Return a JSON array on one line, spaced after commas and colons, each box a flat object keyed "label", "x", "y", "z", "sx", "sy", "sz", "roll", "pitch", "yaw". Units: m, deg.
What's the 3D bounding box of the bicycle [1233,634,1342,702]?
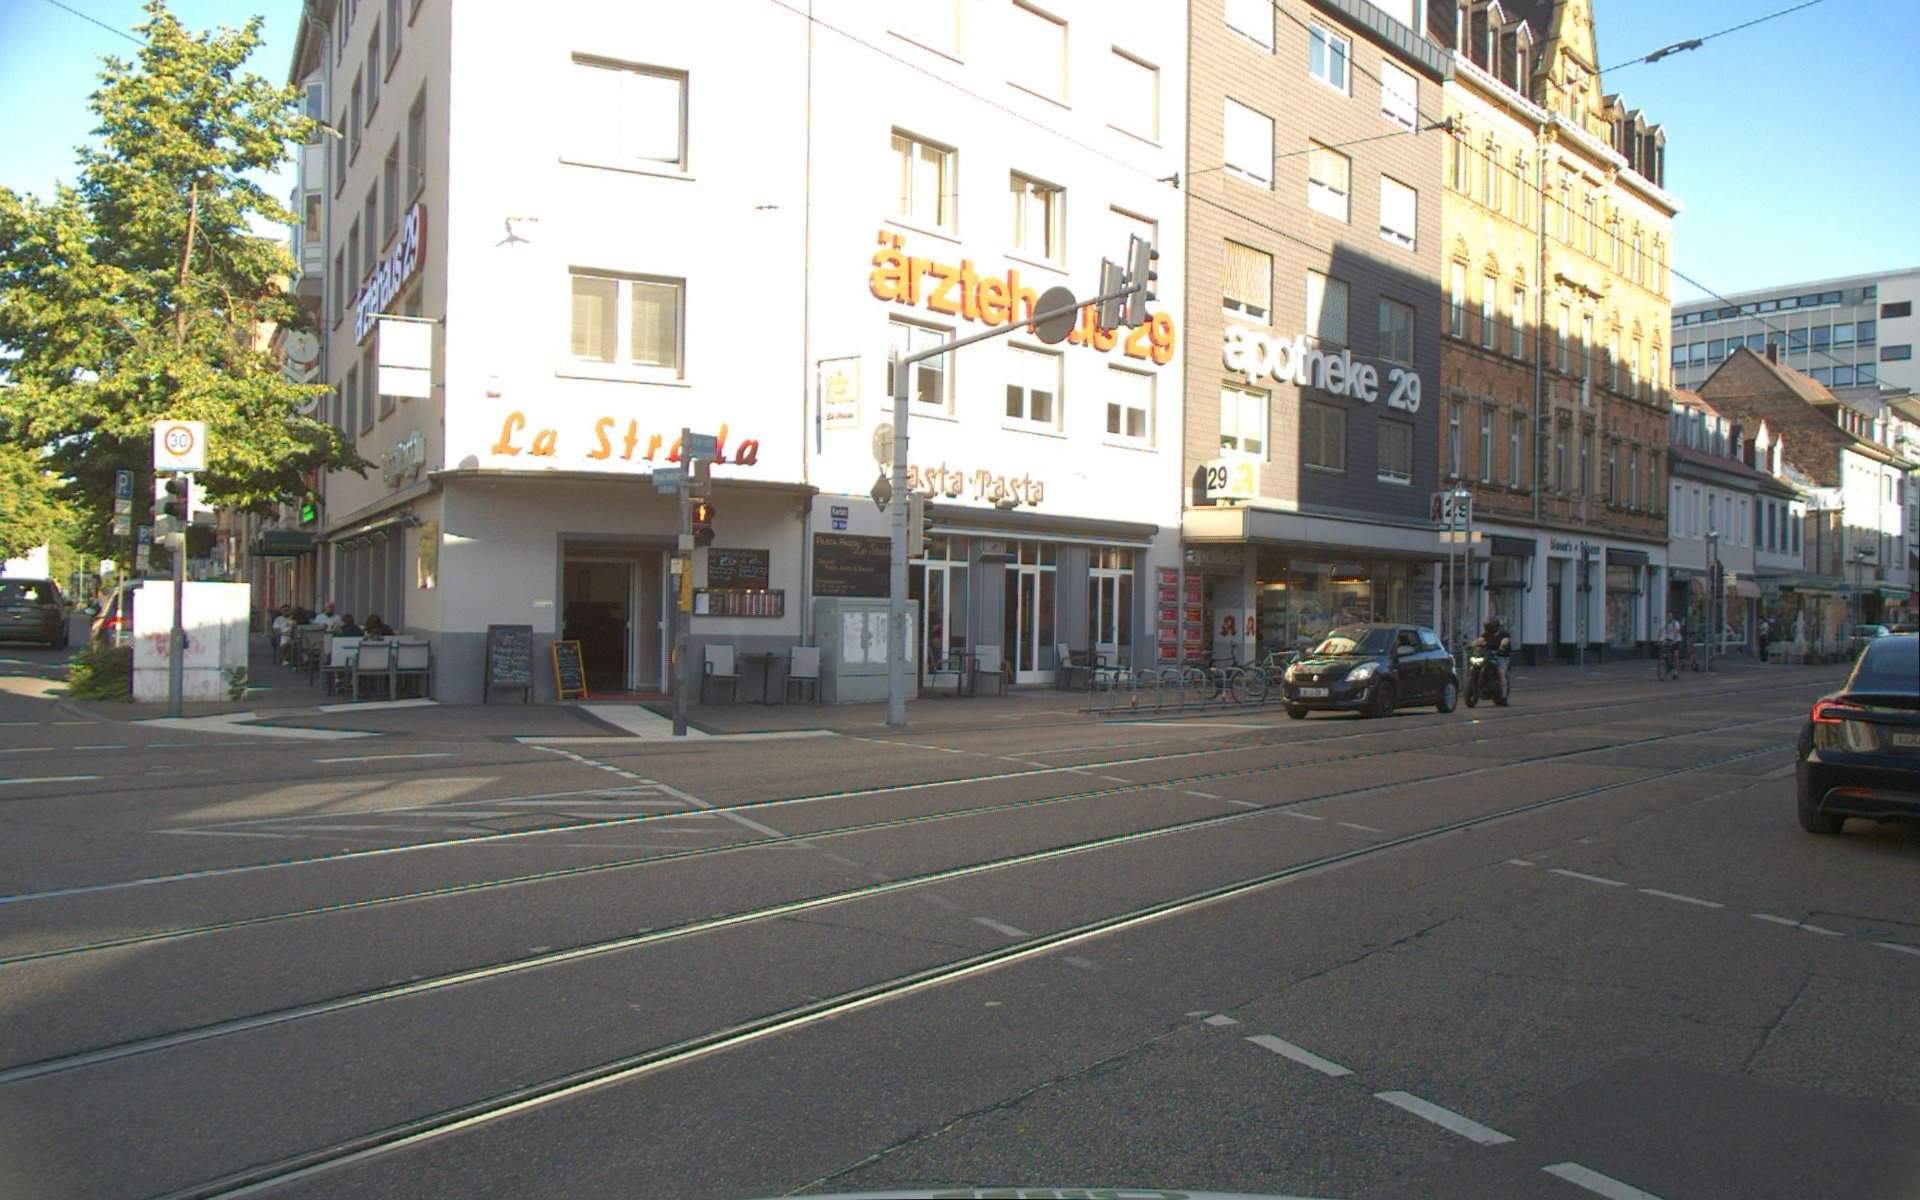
[{"label": "bicycle", "x": 6.354, "y": 1.309, "z": 32.155, "sx": 1.902, "sy": 1.193, "sz": 0.771, "roll": 3, "pitch": 0, "yaw": 35}]

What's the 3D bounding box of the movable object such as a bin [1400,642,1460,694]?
[{"label": "movable object such as a bin", "x": 10.504, "y": 1.504, "z": 37.006, "sx": 1.083, "sy": 1.082, "sz": 0.695, "roll": 2, "pitch": 1, "yaw": 40}]

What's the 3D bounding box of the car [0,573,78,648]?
[{"label": "car", "x": -23.214, "y": 0.242, "z": 41.284, "sx": 1.880, "sy": 1.763, "sz": 4.253, "roll": 1, "pitch": 0, "yaw": -26}]

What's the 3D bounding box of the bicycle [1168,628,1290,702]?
[{"label": "bicycle", "x": 4.969, "y": 1.177, "z": 30.608, "sx": 2.067, "sy": 1.245, "sz": 0.771, "roll": 2, "pitch": 0, "yaw": 35}]

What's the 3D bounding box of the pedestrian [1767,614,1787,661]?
[{"label": "pedestrian", "x": 32.763, "y": 1.511, "z": 66.324, "sx": 0.645, "sy": 1.855, "sz": 0.640, "roll": 1, "pitch": -1, "yaw": 34}]

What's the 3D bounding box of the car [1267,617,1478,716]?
[{"label": "car", "x": 6.745, "y": 1.036, "z": 26.790, "sx": 1.687, "sy": 1.471, "sz": 4.117, "roll": -2, "pitch": -2, "yaw": 40}]

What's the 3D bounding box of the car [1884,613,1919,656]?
[{"label": "car", "x": 37.143, "y": 1.337, "z": 64.293, "sx": 1.623, "sy": 1.593, "sz": 2.814, "roll": 1, "pitch": 0, "yaw": 40}]

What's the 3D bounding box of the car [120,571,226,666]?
[{"label": "car", "x": -16.810, "y": 0.382, "z": 35.348, "sx": 1.880, "sy": 1.884, "sz": 4.253, "roll": 1, "pitch": 0, "yaw": -26}]

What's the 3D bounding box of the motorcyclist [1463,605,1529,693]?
[{"label": "motorcyclist", "x": 9.850, "y": 0.891, "z": 30.395, "sx": 0.791, "sy": 1.585, "sz": 1.139, "roll": -1, "pitch": -2, "yaw": 40}]

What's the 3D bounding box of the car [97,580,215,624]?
[{"label": "car", "x": -41.055, "y": 0.105, "z": 84.532, "sx": 5.328, "sy": 2.183, "sz": 1.982, "roll": 1, "pitch": 0, "yaw": -28}]

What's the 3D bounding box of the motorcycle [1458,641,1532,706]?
[{"label": "motorcycle", "x": 9.850, "y": 1.335, "z": 30.423, "sx": 0.561, "sy": 1.139, "sz": 2.106, "roll": -1, "pitch": -1, "yaw": 40}]

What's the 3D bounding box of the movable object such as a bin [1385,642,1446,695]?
[{"label": "movable object such as a bin", "x": 10.039, "y": 1.491, "z": 36.454, "sx": 1.083, "sy": 1.090, "sz": 0.731, "roll": 2, "pitch": 1, "yaw": 40}]

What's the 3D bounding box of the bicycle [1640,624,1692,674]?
[{"label": "bicycle", "x": 19.253, "y": 1.326, "z": 45.107, "sx": 0.739, "sy": 1.316, "sz": 2.014, "roll": 0, "pitch": -1, "yaw": 40}]

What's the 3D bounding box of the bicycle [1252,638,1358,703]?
[{"label": "bicycle", "x": 6.828, "y": 1.382, "z": 32.787, "sx": 1.901, "sy": 1.213, "sz": 0.771, "roll": 1, "pitch": -1, "yaw": 35}]

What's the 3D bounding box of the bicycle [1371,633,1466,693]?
[{"label": "bicycle", "x": 9.920, "y": 1.350, "z": 35.795, "sx": 1.902, "sy": 1.211, "sz": 0.549, "roll": 1, "pitch": -1, "yaw": 36}]

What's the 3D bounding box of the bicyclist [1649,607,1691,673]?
[{"label": "bicyclist", "x": 19.323, "y": 1.094, "z": 45.018, "sx": 0.739, "sy": 1.759, "sz": 1.139, "roll": 1, "pitch": -1, "yaw": 40}]

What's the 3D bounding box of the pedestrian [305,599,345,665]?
[{"label": "pedestrian", "x": -13.616, "y": 0.683, "z": 35.467, "sx": 0.722, "sy": 1.384, "sz": 0.950, "roll": 1, "pitch": 0, "yaw": -26}]

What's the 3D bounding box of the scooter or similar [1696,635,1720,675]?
[{"label": "scooter or similar", "x": 23.889, "y": 1.739, "z": 52.831, "sx": 0.358, "sy": 1.222, "sz": 1.471, "roll": 3, "pitch": 1, "yaw": 36}]

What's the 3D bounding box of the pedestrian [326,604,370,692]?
[{"label": "pedestrian", "x": -9.473, "y": 0.732, "z": 25.601, "sx": 0.579, "sy": 1.336, "sz": 0.556, "roll": 1, "pitch": 0, "yaw": -26}]

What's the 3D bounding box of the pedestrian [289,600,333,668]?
[{"label": "pedestrian", "x": -13.407, "y": 0.688, "z": 34.163, "sx": 0.722, "sy": 1.371, "sz": 1.050, "roll": 1, "pitch": 0, "yaw": -28}]

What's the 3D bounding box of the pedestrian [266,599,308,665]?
[{"label": "pedestrian", "x": -14.238, "y": 0.675, "z": 34.977, "sx": 0.701, "sy": 1.371, "sz": 1.049, "roll": 1, "pitch": 0, "yaw": -29}]

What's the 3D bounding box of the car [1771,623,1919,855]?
[{"label": "car", "x": 7.568, "y": 0.924, "z": 12.215, "sx": 1.841, "sy": 1.452, "sz": 4.341, "roll": 1, "pitch": 0, "yaw": 40}]

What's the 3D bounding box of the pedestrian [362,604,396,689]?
[{"label": "pedestrian", "x": -9.319, "y": 0.738, "z": 26.544, "sx": 0.480, "sy": 1.345, "sz": 0.650, "roll": 1, "pitch": 0, "yaw": -19}]

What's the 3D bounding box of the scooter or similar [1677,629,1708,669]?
[{"label": "scooter or similar", "x": 23.527, "y": 1.568, "z": 53.138, "sx": 0.569, "sy": 1.222, "sz": 1.471, "roll": 3, "pitch": 1, "yaw": 36}]

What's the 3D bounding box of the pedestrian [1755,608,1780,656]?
[{"label": "pedestrian", "x": 30.579, "y": 1.212, "z": 62.635, "sx": 0.711, "sy": 1.806, "sz": 0.607, "roll": 1, "pitch": -1, "yaw": -37}]

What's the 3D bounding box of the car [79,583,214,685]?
[{"label": "car", "x": -14.416, "y": 0.562, "z": 29.418, "sx": 1.976, "sy": 1.665, "sz": 4.253, "roll": 1, "pitch": 0, "yaw": -26}]
